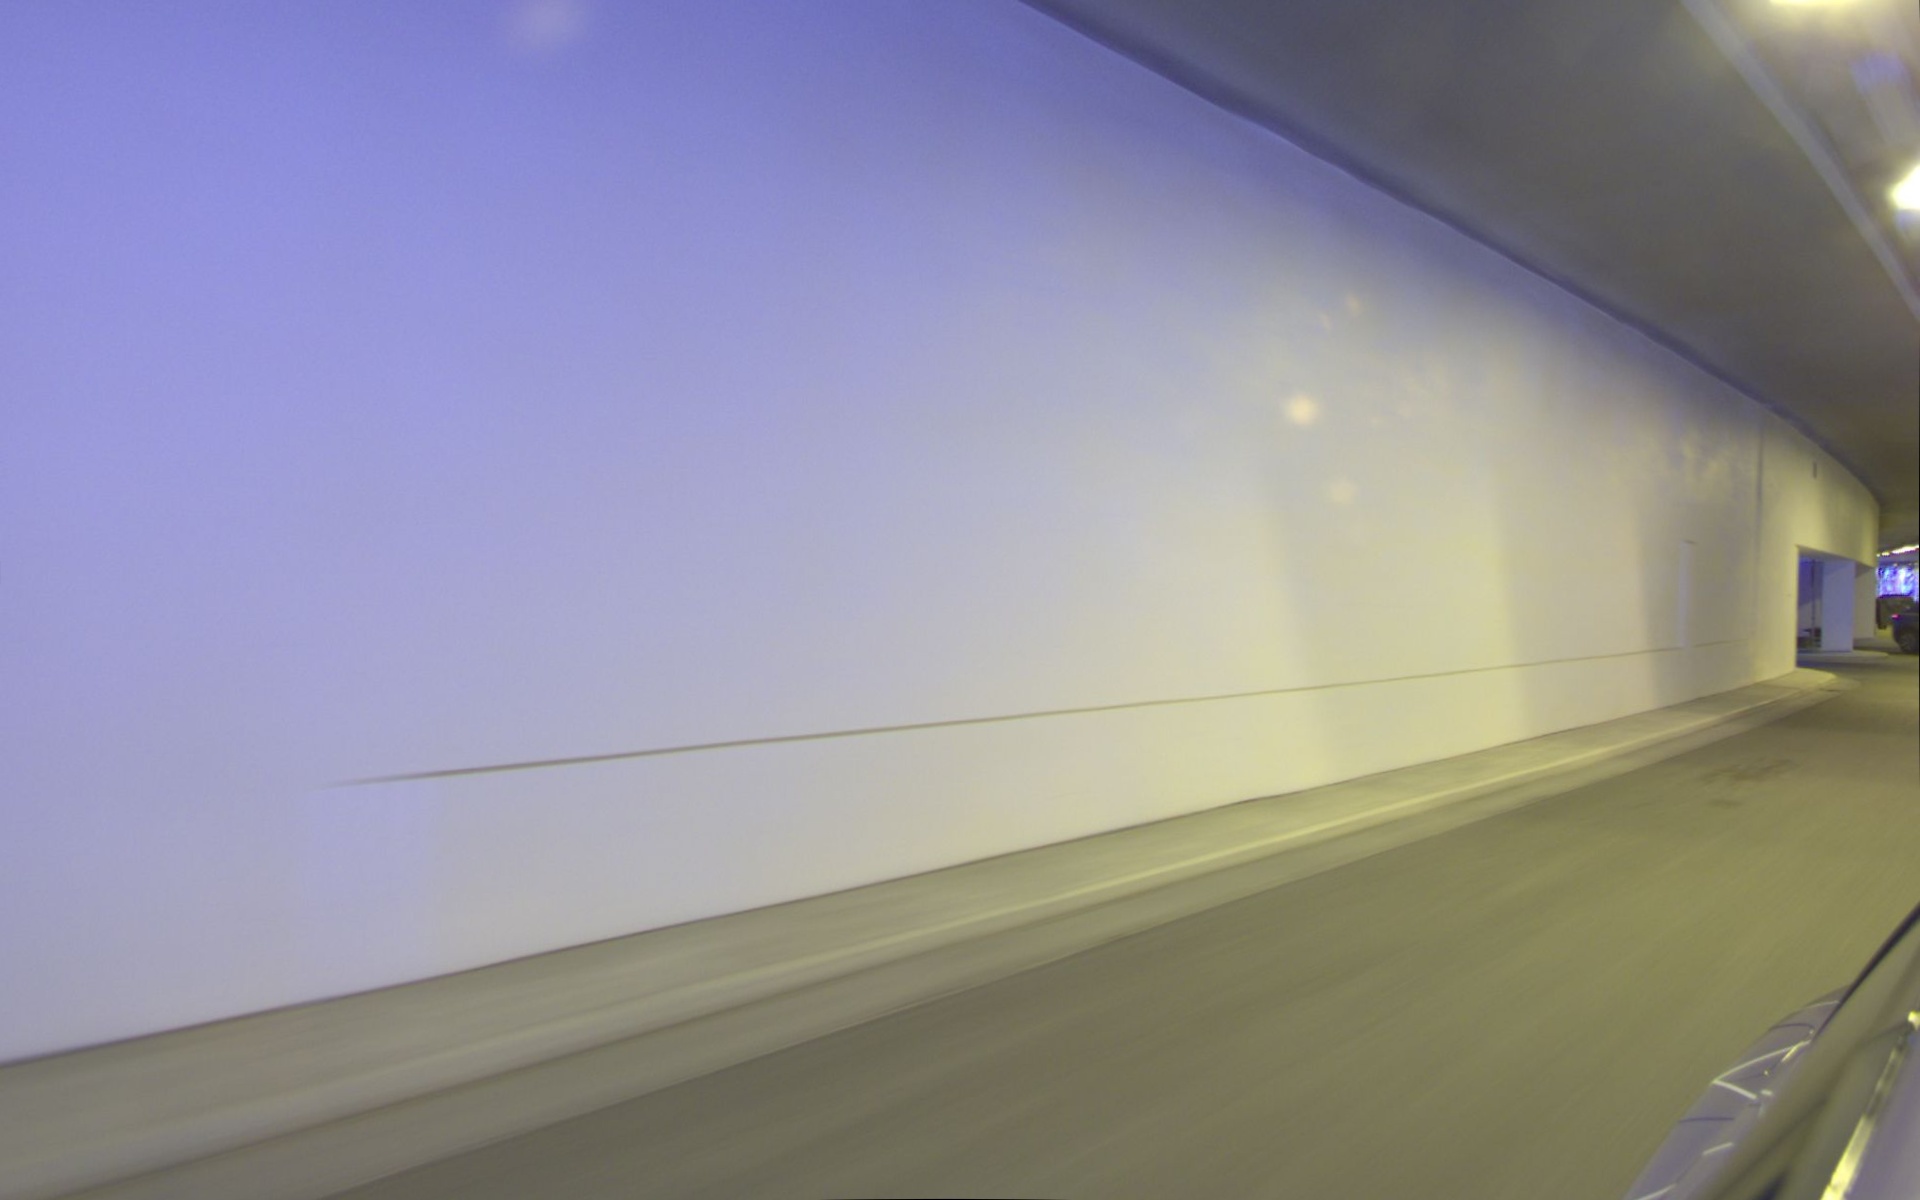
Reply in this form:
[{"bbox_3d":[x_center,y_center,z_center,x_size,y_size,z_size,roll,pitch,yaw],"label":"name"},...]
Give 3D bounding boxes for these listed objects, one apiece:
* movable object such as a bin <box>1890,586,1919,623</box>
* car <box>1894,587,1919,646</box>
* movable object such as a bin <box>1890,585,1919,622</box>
[{"bbox_3d":[37.912,0.164,40.371,1.144,1.463,1.344,0,1,41],"label":"movable object such as a bin"},{"bbox_3d":[26.770,0.469,25.867,1.862,1.565,4.241,0,1,0],"label":"car"},{"bbox_3d":[38.825,0.136,41.415,1.096,1.463,1.302,0,1,41],"label":"movable object such as a bin"}]
